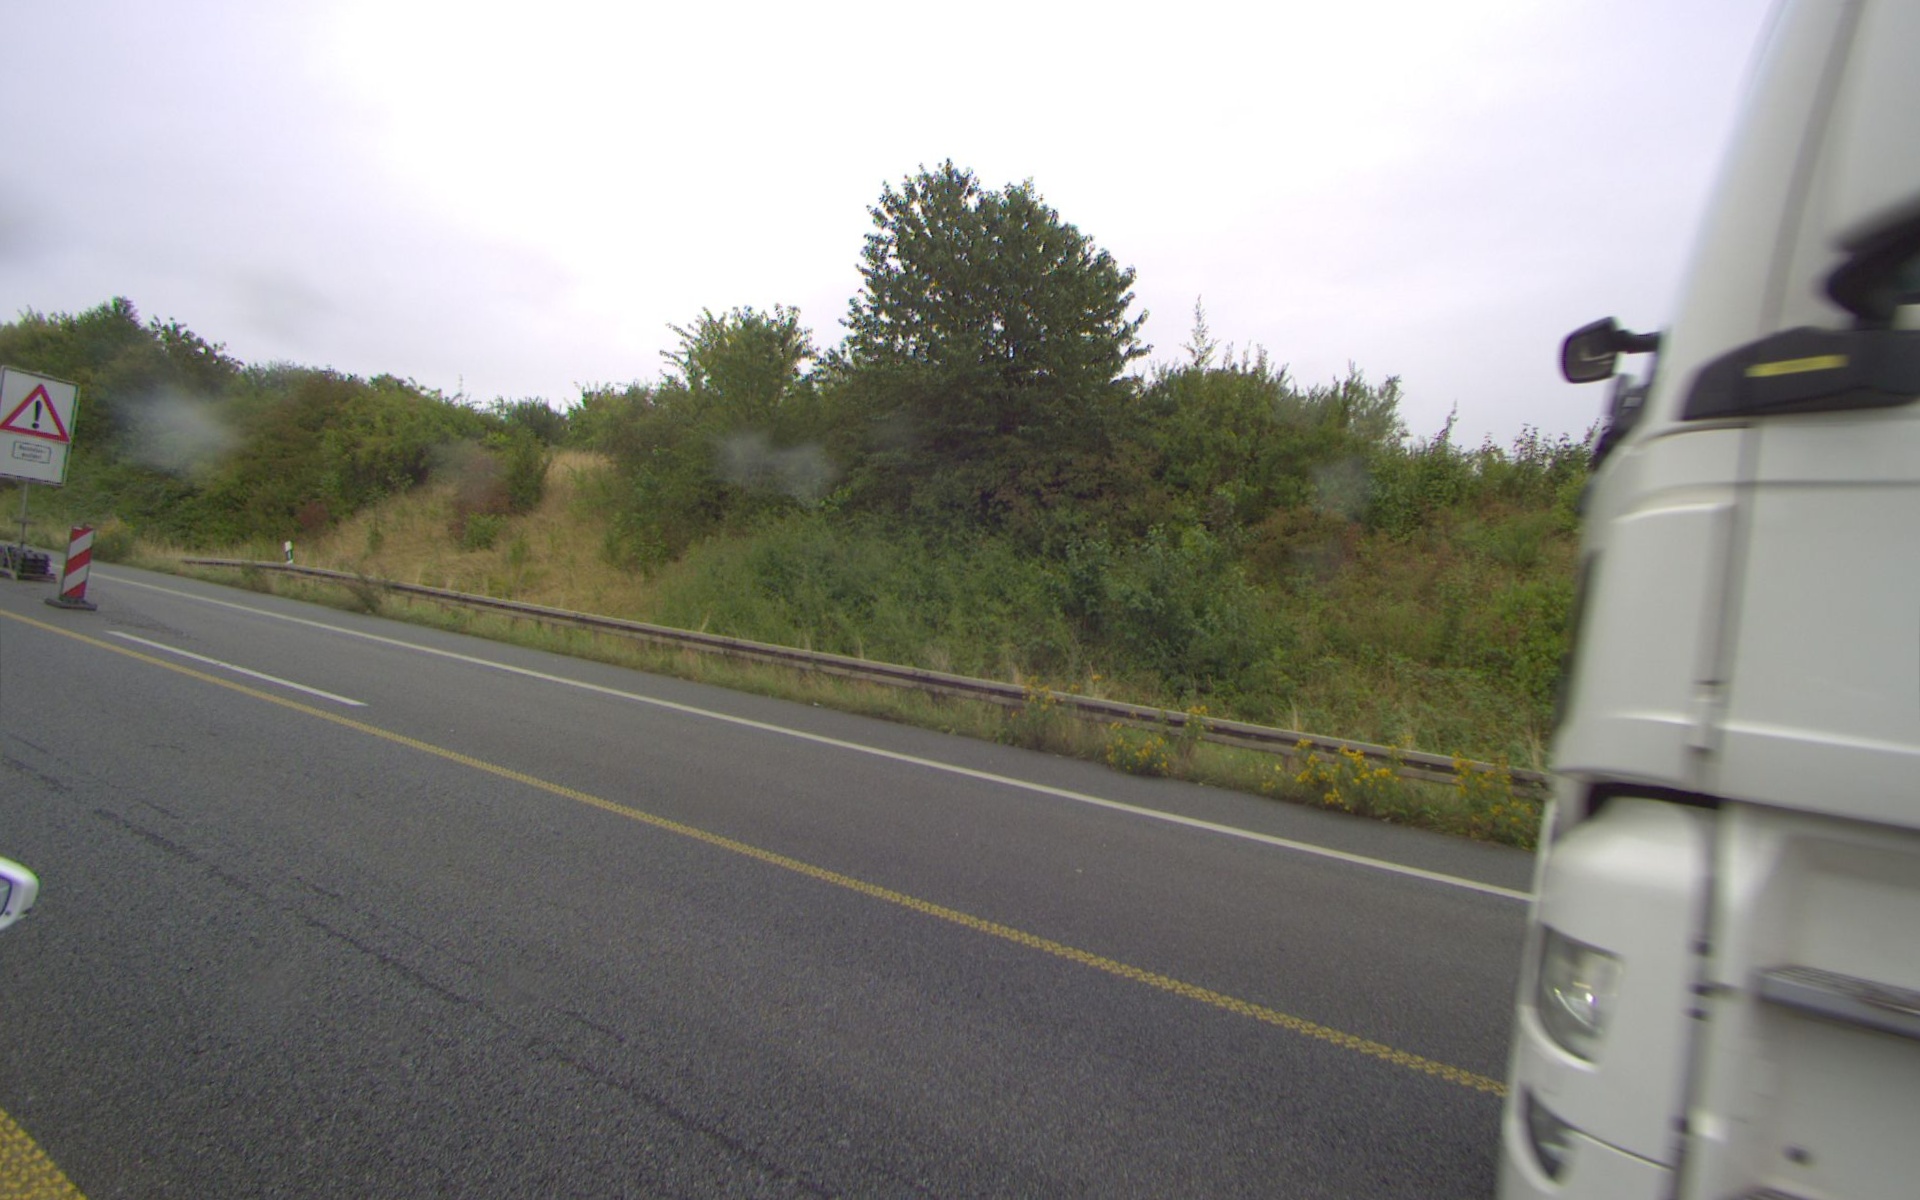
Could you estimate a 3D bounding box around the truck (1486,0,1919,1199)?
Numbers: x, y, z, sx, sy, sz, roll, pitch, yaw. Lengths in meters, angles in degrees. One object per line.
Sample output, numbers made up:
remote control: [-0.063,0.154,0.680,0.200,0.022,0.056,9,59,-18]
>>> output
truck: [4.079,-0.065,1.312,5.596,4.188,2.710,7,0,32]
